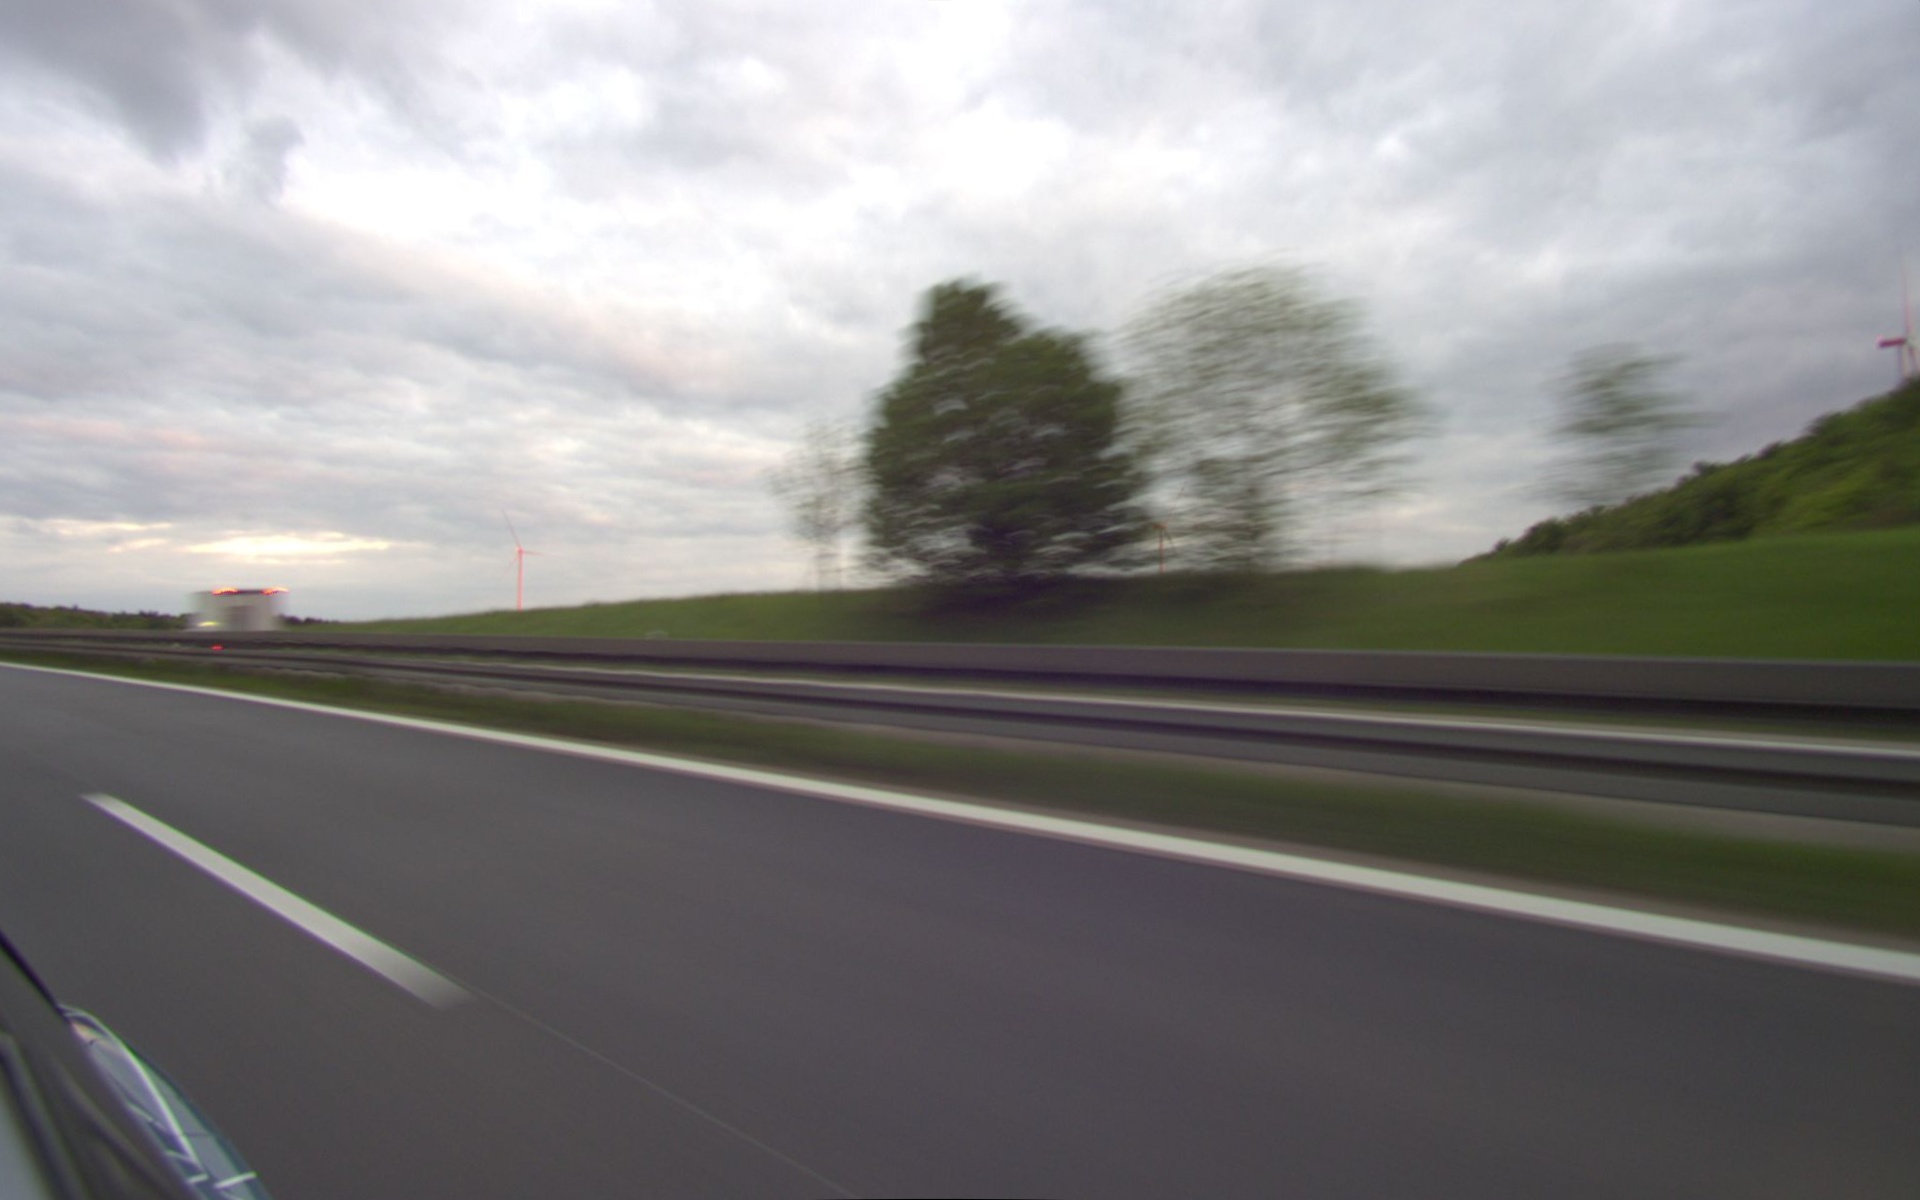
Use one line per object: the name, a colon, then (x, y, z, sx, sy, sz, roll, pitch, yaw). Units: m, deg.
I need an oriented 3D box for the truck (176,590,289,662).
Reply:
truck: (-33.977, 1.172, 47.187, 6.660, 3.133, 2.587, -1, -1, 39)
